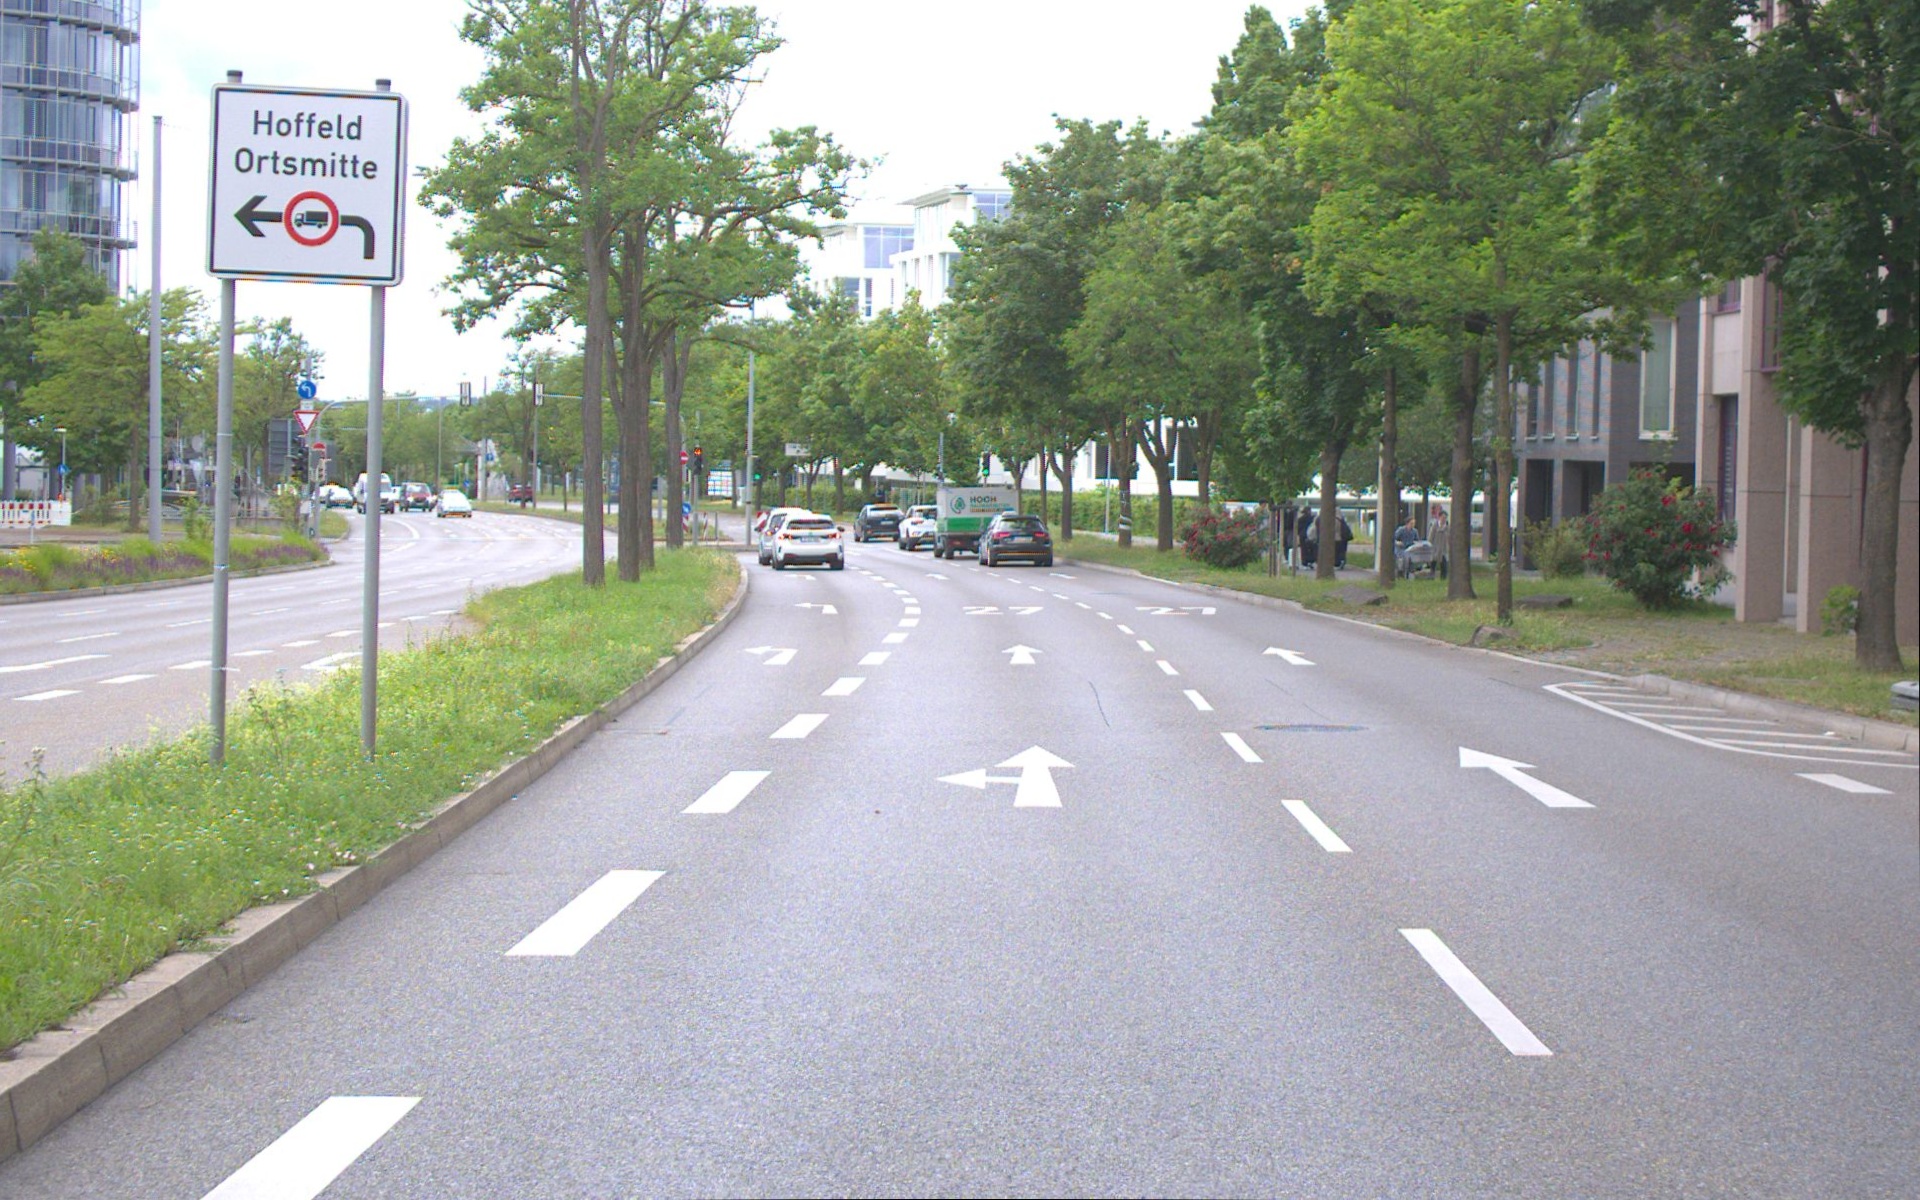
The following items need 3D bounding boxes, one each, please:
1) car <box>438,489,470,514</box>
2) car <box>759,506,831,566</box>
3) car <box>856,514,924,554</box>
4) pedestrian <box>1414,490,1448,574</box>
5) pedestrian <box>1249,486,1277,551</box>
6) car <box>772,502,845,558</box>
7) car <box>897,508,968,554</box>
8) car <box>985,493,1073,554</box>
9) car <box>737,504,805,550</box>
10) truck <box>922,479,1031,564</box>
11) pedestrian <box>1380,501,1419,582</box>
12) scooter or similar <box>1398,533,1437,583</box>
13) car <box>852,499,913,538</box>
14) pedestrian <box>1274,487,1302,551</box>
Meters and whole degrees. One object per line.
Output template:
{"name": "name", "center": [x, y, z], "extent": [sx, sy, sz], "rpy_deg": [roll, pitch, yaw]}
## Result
{"name": "car", "center": [-30.210, -5.890, 205.410], "extent": [1.752, 1.439, 4.136], "rpy_deg": [2, 1, -7]}
{"name": "car", "center": [-4.741, -1.826, 98.236], "extent": [1.993, 1.666, 4.001], "rpy_deg": [1, 1, -3]}
{"name": "car", "center": [-2.774, -2.601, 135.376], "extent": [1.993, 1.503, 4.001], "rpy_deg": [1, 1, -11]}
{"name": "pedestrian", "center": [9.679, -1.398, 70.636], "extent": [0.567, 1.694, 0.829], "rpy_deg": [1, 1, 1]}
{"name": "pedestrian", "center": [8.469, -2.282, 96.114], "extent": [0.608, 1.769, 0.954], "rpy_deg": [1, 4, -4]}
{"name": "car", "center": [-3.987, -1.848, 91.121], "extent": [1.863, 1.444, 4.000], "rpy_deg": [1, 1, -2]}
{"name": "car", "center": [-0.955, -2.353, 116.357], "extent": [1.993, 1.503, 4.001], "rpy_deg": [0, 2, -7]}
{"name": "car", "center": [1.864, -2.102, 94.032], "extent": [1.993, 1.590, 4.001], "rpy_deg": [1, 2, -5]}
{"name": "car", "center": [-6.440, -2.514, 117.471], "extent": [1.993, 1.503, 4.000], "rpy_deg": [1, 2, 2]}
{"name": "truck", "center": [0.464, -2.411, 106.245], "extent": [2.859, 2.510, 6.288], "rpy_deg": [1, 1, -4]}
{"name": "pedestrian", "center": [9.016, -1.202, 70.503], "extent": [0.555, 1.647, 0.962], "rpy_deg": [-1, 1, -7]}
{"name": "scooter or similar", "center": [9.264, -0.858, 69.627], "extent": [0.583, 0.990, 0.847], "rpy_deg": [-1, 1, -7]}
{"name": "car", "center": [-3.056, -3.217, 135.116], "extent": [1.993, 1.485, 4.001], "rpy_deg": [1, 2, -7]}
{"name": "pedestrian", "center": [9.190, -2.274, 96.292], "extent": [0.608, 1.769, 0.954], "rpy_deg": [1, 4, -4]}
